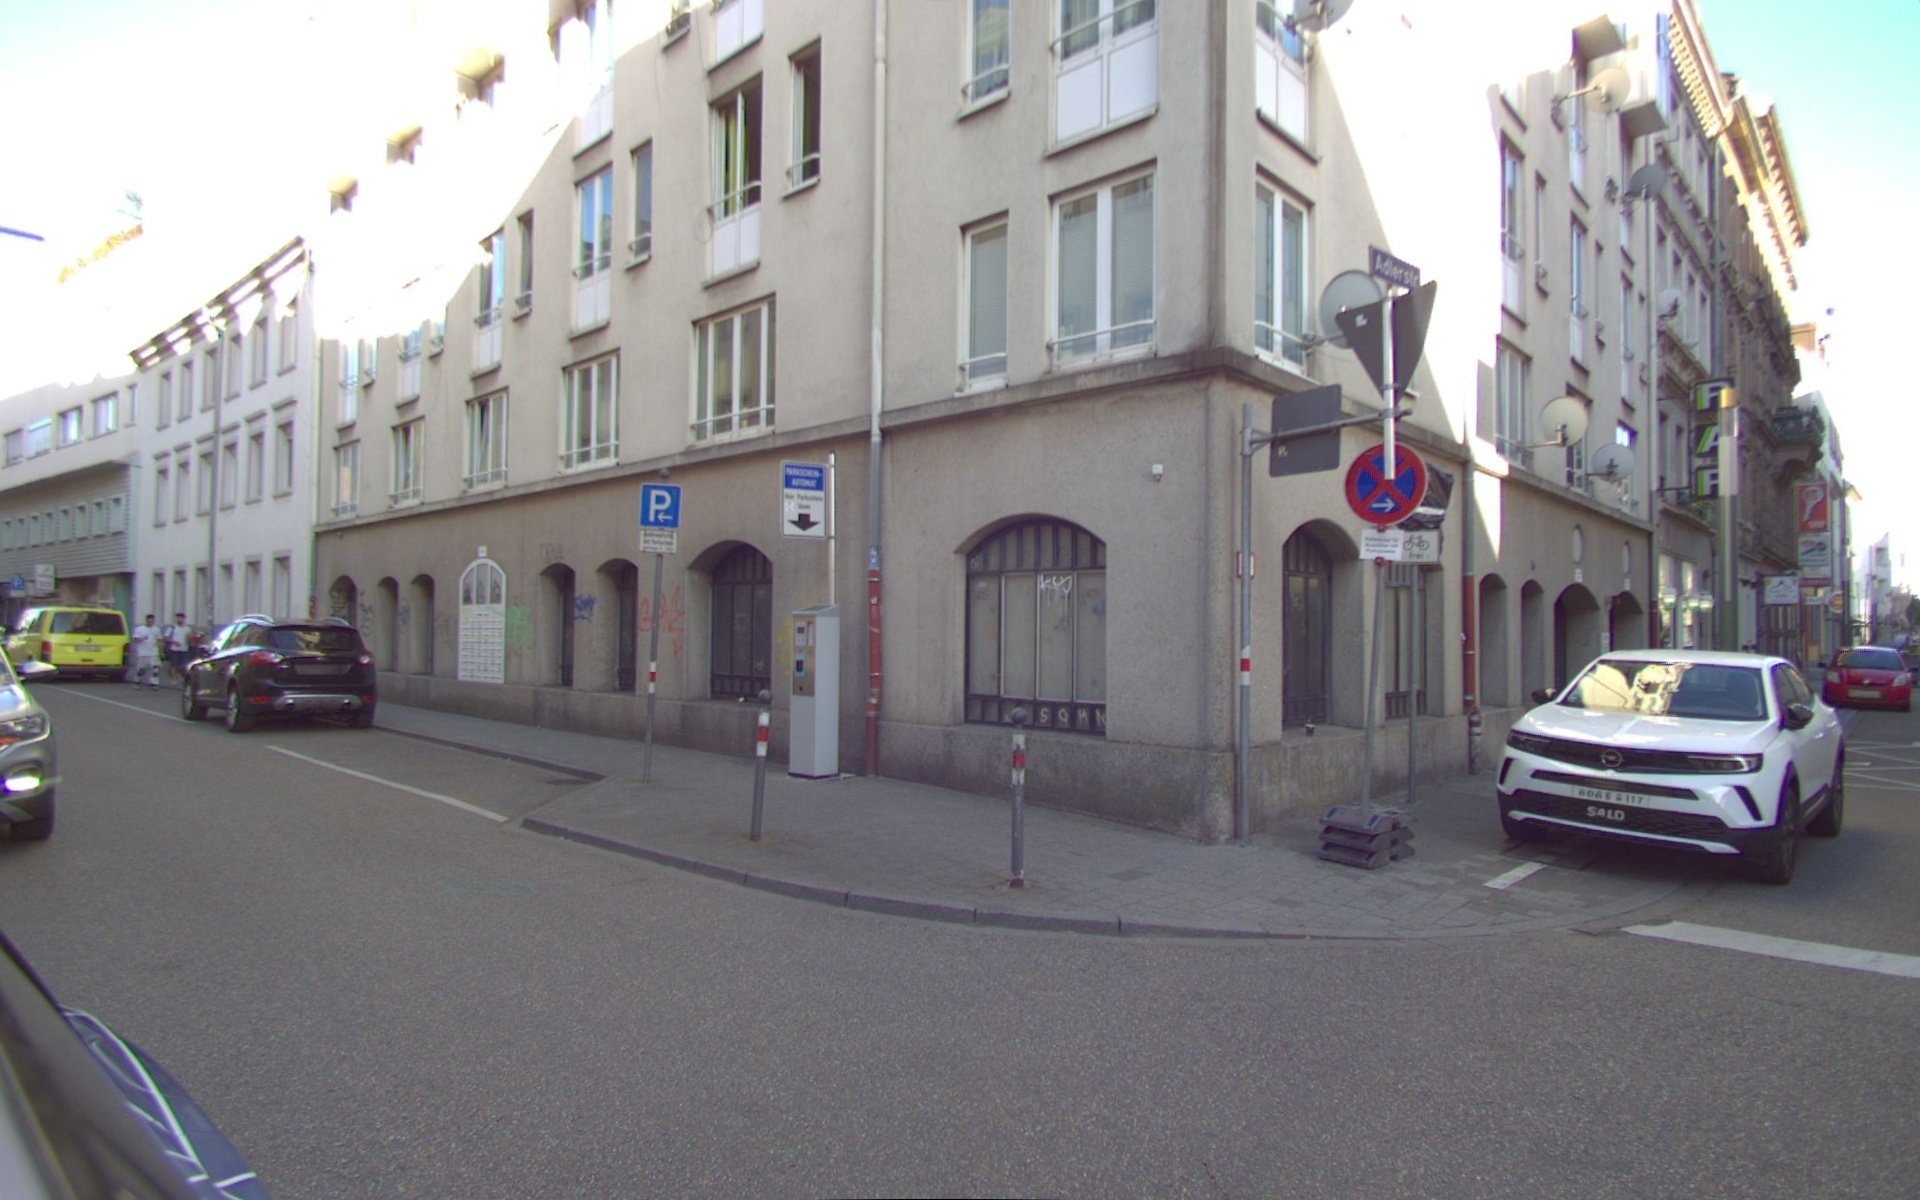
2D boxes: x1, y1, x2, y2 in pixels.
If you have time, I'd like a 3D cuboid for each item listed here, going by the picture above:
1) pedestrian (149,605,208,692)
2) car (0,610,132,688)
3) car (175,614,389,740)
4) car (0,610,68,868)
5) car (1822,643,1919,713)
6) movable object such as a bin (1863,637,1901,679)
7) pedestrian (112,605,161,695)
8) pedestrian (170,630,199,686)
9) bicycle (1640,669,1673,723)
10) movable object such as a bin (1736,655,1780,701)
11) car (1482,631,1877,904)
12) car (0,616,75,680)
[{"bbox_3d":[-18.610,1.149,24.112,0.698,2.029,0.925,-1,-3,40],"label":"pedestrian"},{"bbox_3d":[-23.359,1.244,26.376,3.994,1.888,1.865,-1,-3,38],"label":"car"},{"bbox_3d":[-10.695,1.135,15.859,4.000,1.717,1.863,-1,-4,43],"label":"car"},{"bbox_3d":[-7.681,0.866,6.991,3.997,1.558,1.740,-1,-1,41],"label":"car"},{"bbox_3d":[22.677,1.873,25.218,1.793,1.537,3.945,0,-1,41],"label":"car"},{"bbox_3d":[35.691,2.225,39.185,1.083,1.555,0.896,0,-1,42],"label":"movable object such as a bin"},{"bbox_3d":[-18.986,1.144,23.327,0.698,2.029,0.706,-1,-3,40],"label":"pedestrian"},{"bbox_3d":[-20.542,1.536,26.815,0.548,1.459,0.583,2,-3,-39],"label":"pedestrian"},{"bbox_3d":[12.433,1.703,18.053,1.049,0.864,0.219,-1,0,-41],"label":"bicycle"},{"bbox_3d":[19.771,1.910,25.080,0.837,1.056,0.745,-1,0,40],"label":"movable object such as a bin"},{"bbox_3d":[5.836,1.089,8.033,3.908,1.605,1.746,3,-2,-42],"label":"car"},{"bbox_3d":[-28.090,1.404,30.088,3.994,1.781,1.865,-1,-5,38],"label":"car"}]
